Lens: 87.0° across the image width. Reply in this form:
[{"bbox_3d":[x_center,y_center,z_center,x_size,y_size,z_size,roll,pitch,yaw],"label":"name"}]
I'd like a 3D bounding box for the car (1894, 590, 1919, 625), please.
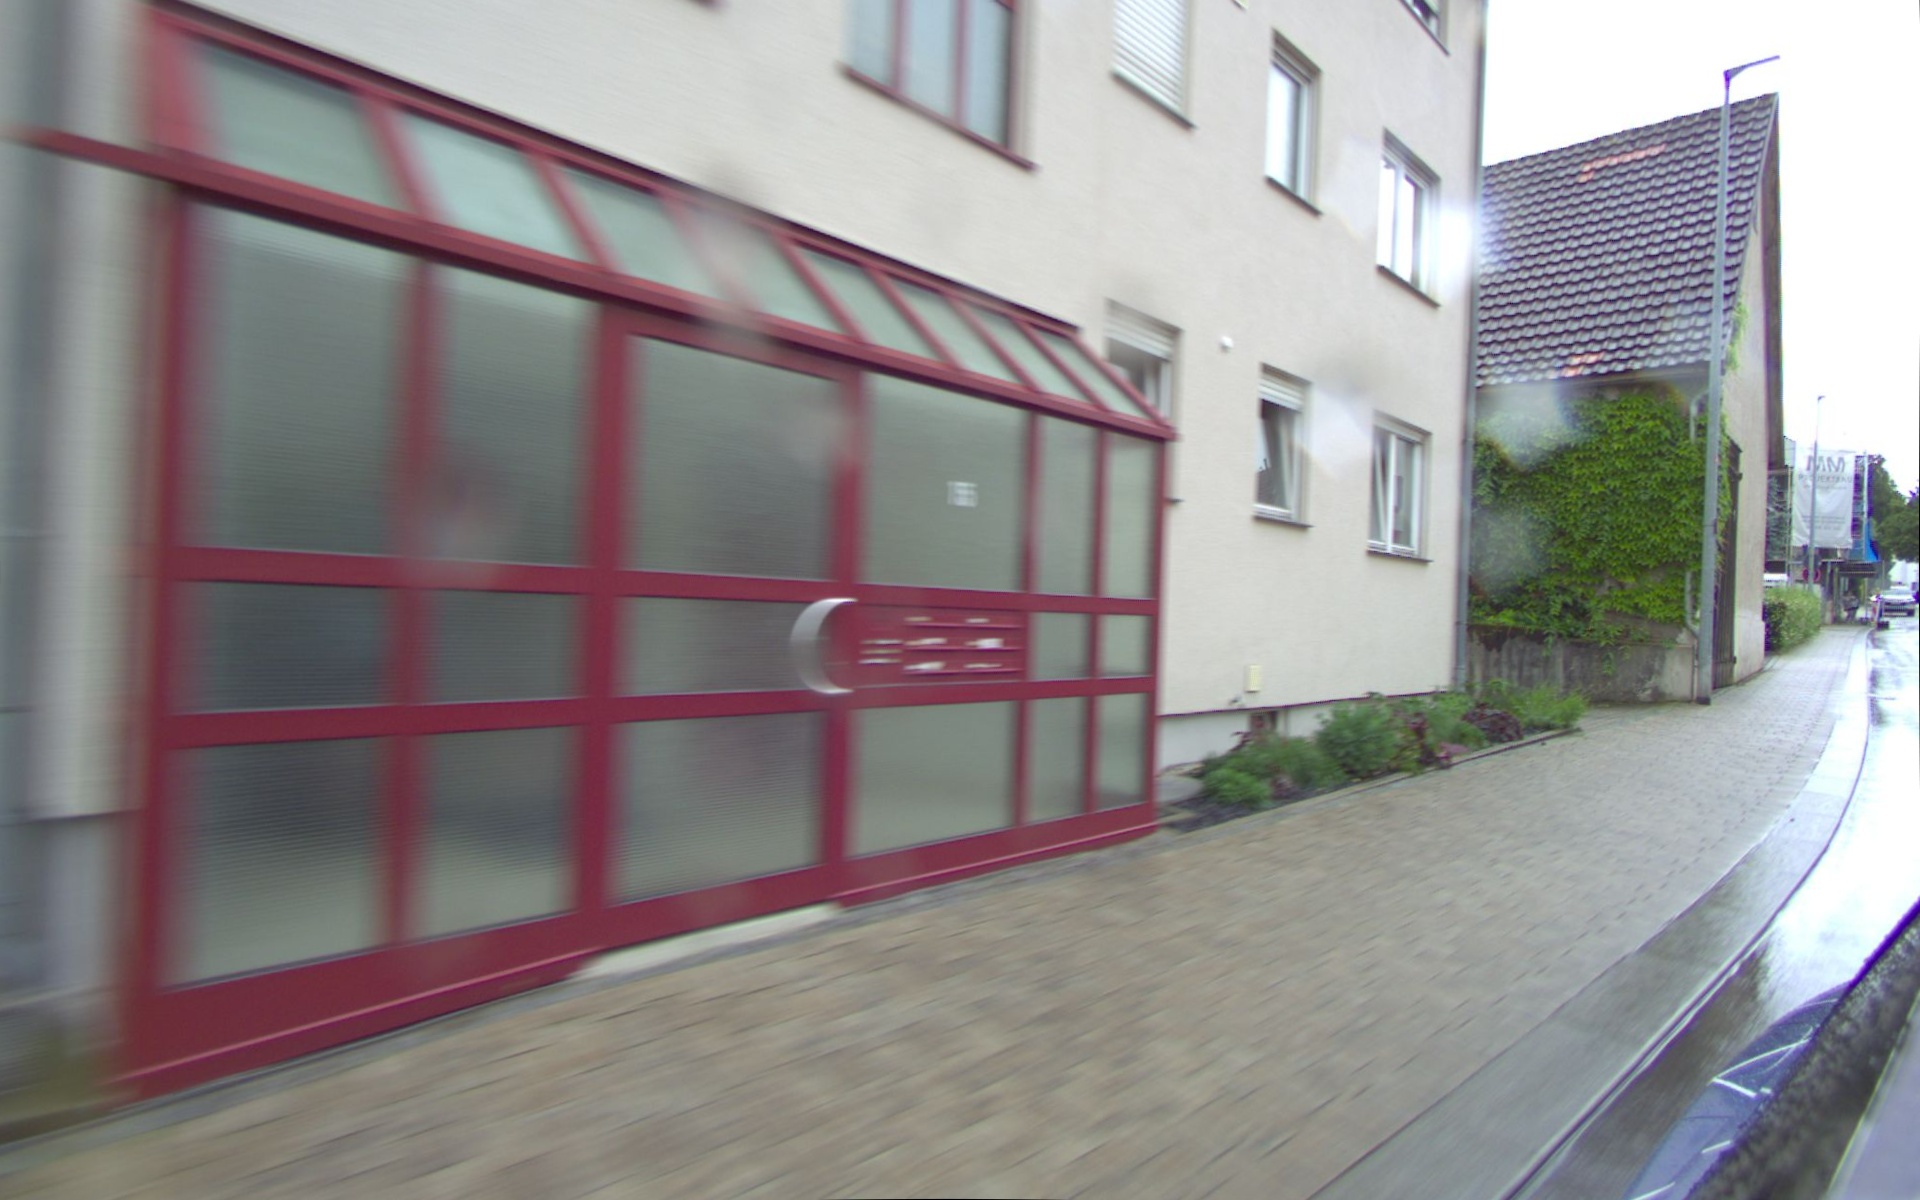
[{"bbox_3d":[58.224,0.449,61.671,1.823,2.000,4.446,3,2,43],"label":"car"}]

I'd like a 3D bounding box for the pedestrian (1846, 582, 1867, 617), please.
[{"bbox_3d":[42.404,-0.042,47.866,0.654,1.600,0.430,4,3,43],"label":"pedestrian"}]

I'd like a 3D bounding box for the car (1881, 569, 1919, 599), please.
[{"bbox_3d":[68.746,-1.151,74.031,1.703,2.128,3.885,0,1,39],"label":"car"}]
